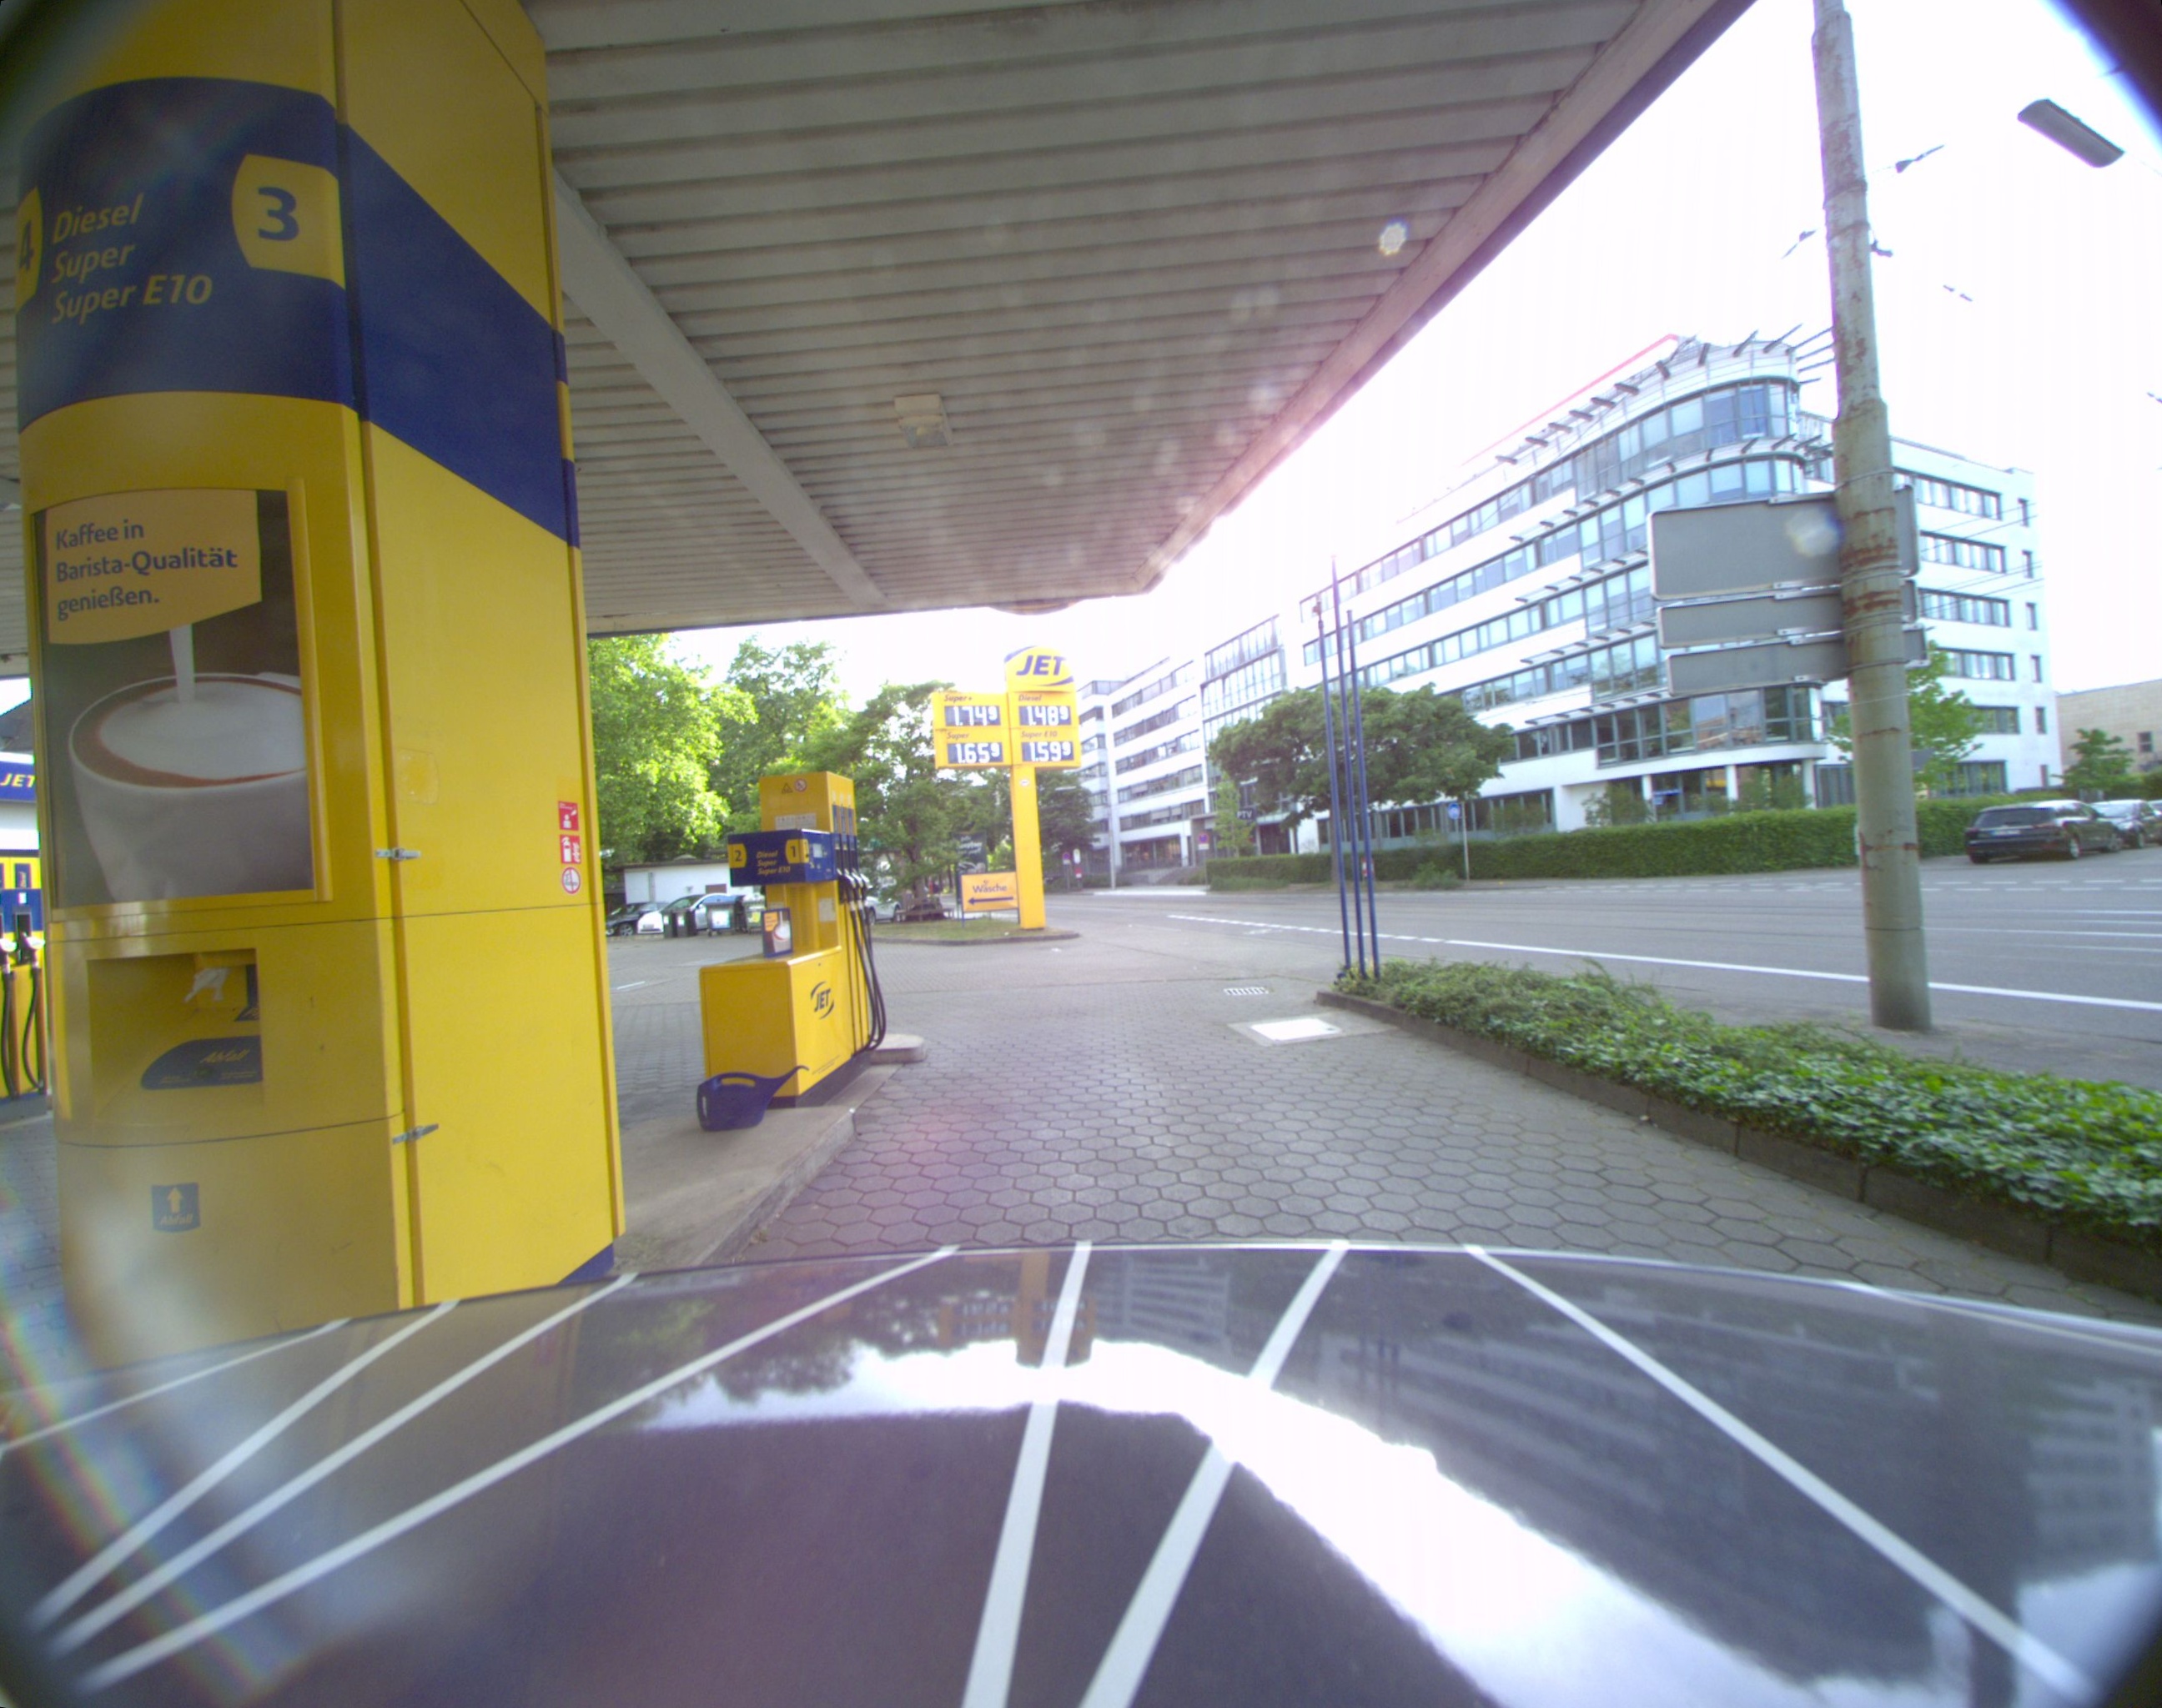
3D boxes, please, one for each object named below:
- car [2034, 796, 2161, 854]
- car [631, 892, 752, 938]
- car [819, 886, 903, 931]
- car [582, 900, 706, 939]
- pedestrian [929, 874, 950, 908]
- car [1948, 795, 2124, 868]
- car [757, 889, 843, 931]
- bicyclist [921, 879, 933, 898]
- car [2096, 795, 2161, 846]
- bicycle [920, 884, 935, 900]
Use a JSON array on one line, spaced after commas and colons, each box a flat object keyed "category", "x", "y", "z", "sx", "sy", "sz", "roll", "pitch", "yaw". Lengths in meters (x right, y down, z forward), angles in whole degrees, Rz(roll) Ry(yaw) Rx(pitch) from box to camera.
[{"category": "car", "x": 32.485, "y": -0.937, "z": 24.049, "sx": 4.109, "sy": 1.544, "sz": 1.786, "roll": -4, "pitch": -1, "yaw": -23}, {"category": "car", "x": -15.365, "y": 2.386, "z": 30.267, "sx": 1.785, "sy": 1.514, "sz": 4.229, "roll": -4, "pitch": -3, "yaw": 17}, {"category": "car", "x": -8.692, "y": 2.119, "z": 30.393, "sx": 1.739, "sy": 1.500, "sz": 4.003, "roll": -4, "pitch": -2, "yaw": 6}, {"category": "car", "x": -17.751, "y": 2.634, "z": 31.083, "sx": 1.745, "sy": 1.269, "sz": 4.230, "roll": -5, "pitch": -3, "yaw": 19}, {"category": "pedestrian", "x": -8.566, "y": 2.251, "z": 46.017, "sx": 0.934, "sy": 2.001, "sz": 1.214, "roll": -2, "pitch": -1, "yaw": -24}, {"category": "car", "x": 27.370, "y": -0.645, "z": 21.778, "sx": 4.438, "sy": 1.603, "sz": 1.976, "roll": -5, "pitch": -1, "yaw": -23}, {"category": "car", "x": -11.807, "y": 2.325, "z": 32.255, "sx": 1.739, "sy": 1.500, "sz": 4.004, "roll": -4, "pitch": -2, "yaw": 6}, {"category": "bicyclist", "x": -12.527, "y": 2.835, "z": 61.827, "sx": 0.736, "sy": 1.451, "sz": 0.915, "roll": -5, "pitch": 0, "yaw": -23}, {"category": "car", "x": 37.145, "y": -1.232, "z": 26.086, "sx": 4.109, "sy": 1.544, "sz": 1.786, "roll": -4, "pitch": -1, "yaw": -23}, {"category": "bicycle", "x": -12.548, "y": 3.113, "z": 61.907, "sx": 0.736, "sy": 1.250, "sz": 1.936, "roll": -5, "pitch": -1, "yaw": -23}]
